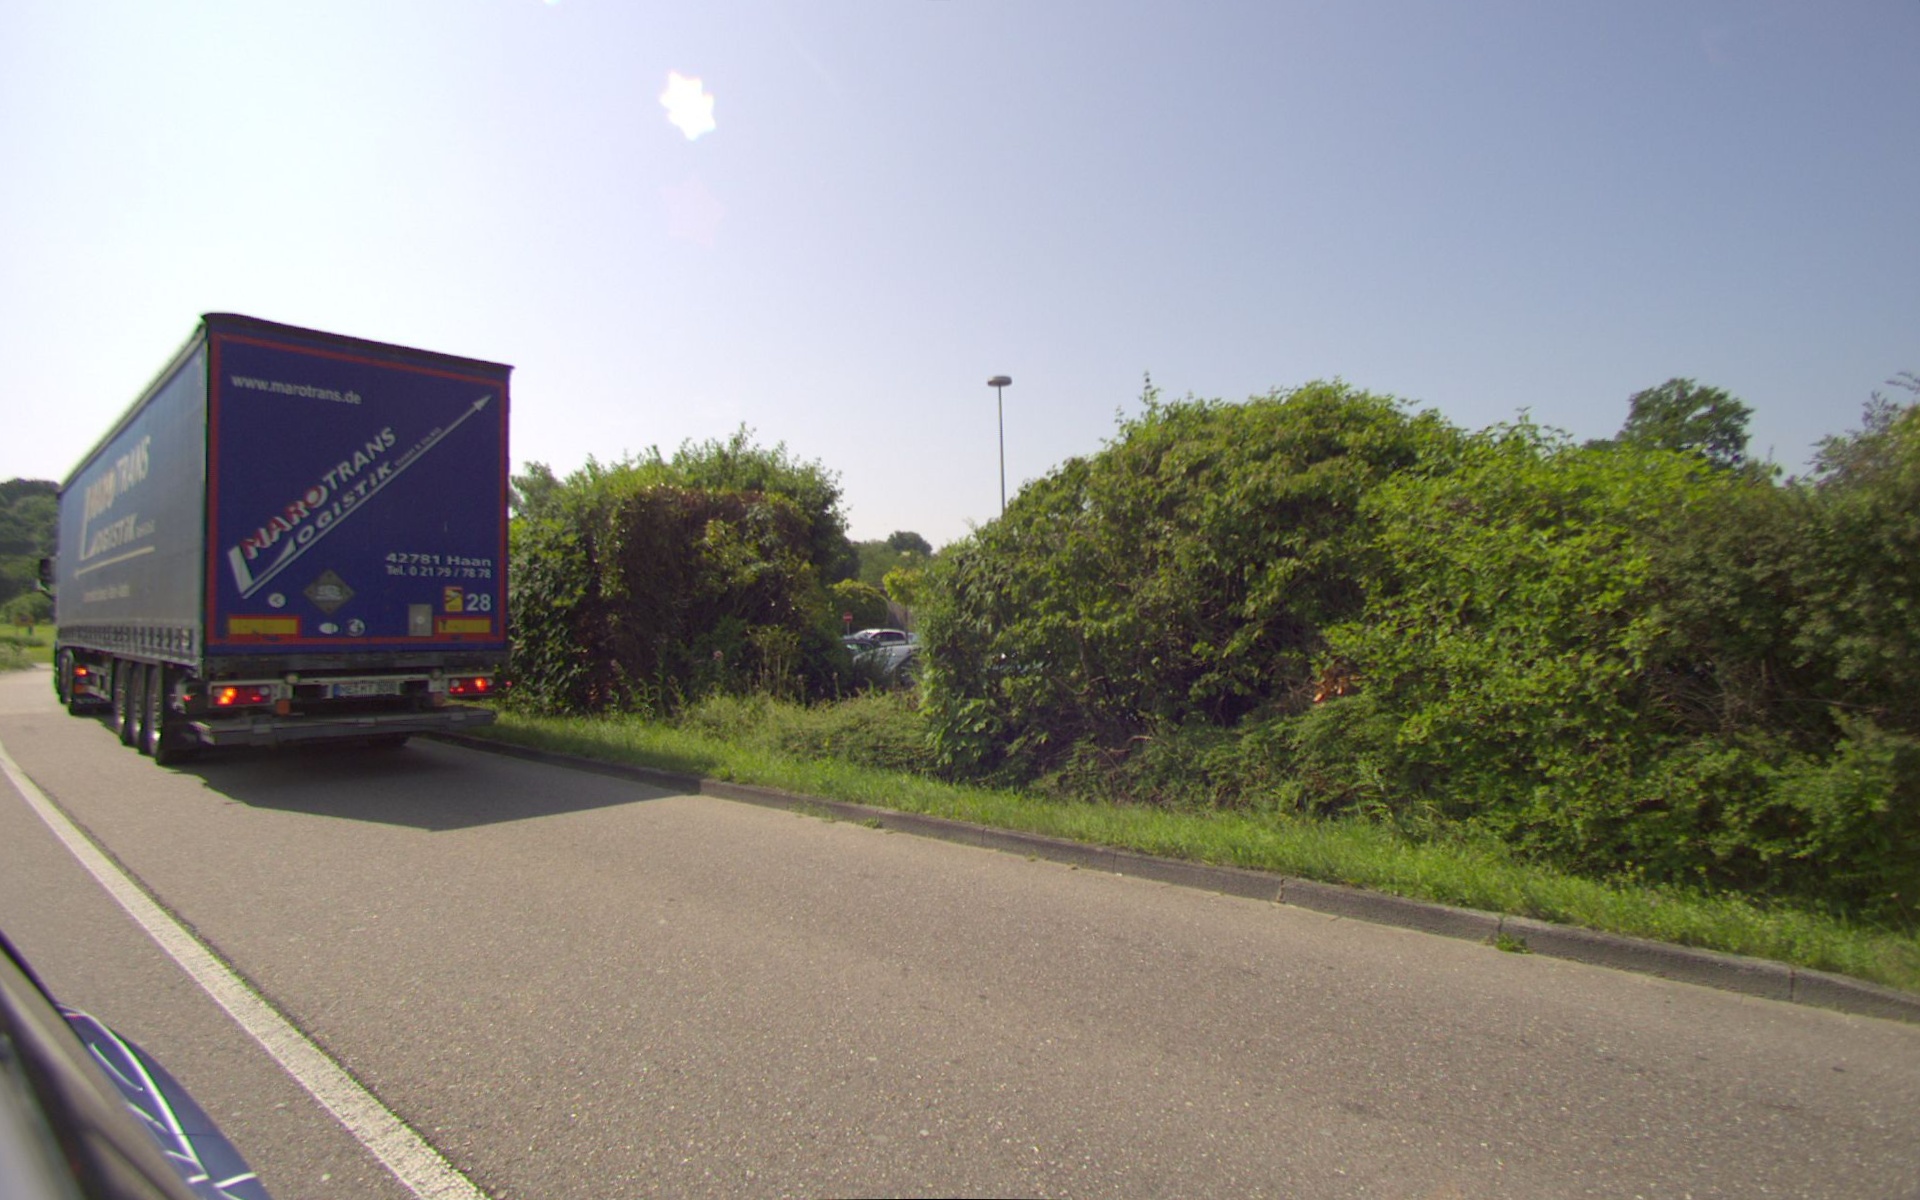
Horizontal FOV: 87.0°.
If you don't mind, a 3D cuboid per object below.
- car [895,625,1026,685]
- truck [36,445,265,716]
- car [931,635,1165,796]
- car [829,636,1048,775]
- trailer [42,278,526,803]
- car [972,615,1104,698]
[{"bbox_3d":[0.062,1.688,32.112,3.940,1.674,1.861,-1,-1,-43],"label":"car"},{"bbox_3d":[-15.349,-0.236,19.020,6.113,4.290,2.485,-1,-2,43],"label":"truck"},{"bbox_3d":[1.501,1.631,15.845,1.994,2.029,3.955,-1,0,33],"label":"car"},{"bbox_3d":[-0.266,1.727,18.047,1.994,2.029,3.955,-1,0,33],"label":"car"},{"bbox_3d":[-10.518,-0.376,14.263,14.570,4.273,2.640,-1,0,44],"label":"trailer"},{"bbox_3d":[2.238,1.489,28.058,1.994,2.029,3.955,-1,0,33],"label":"car"}]
